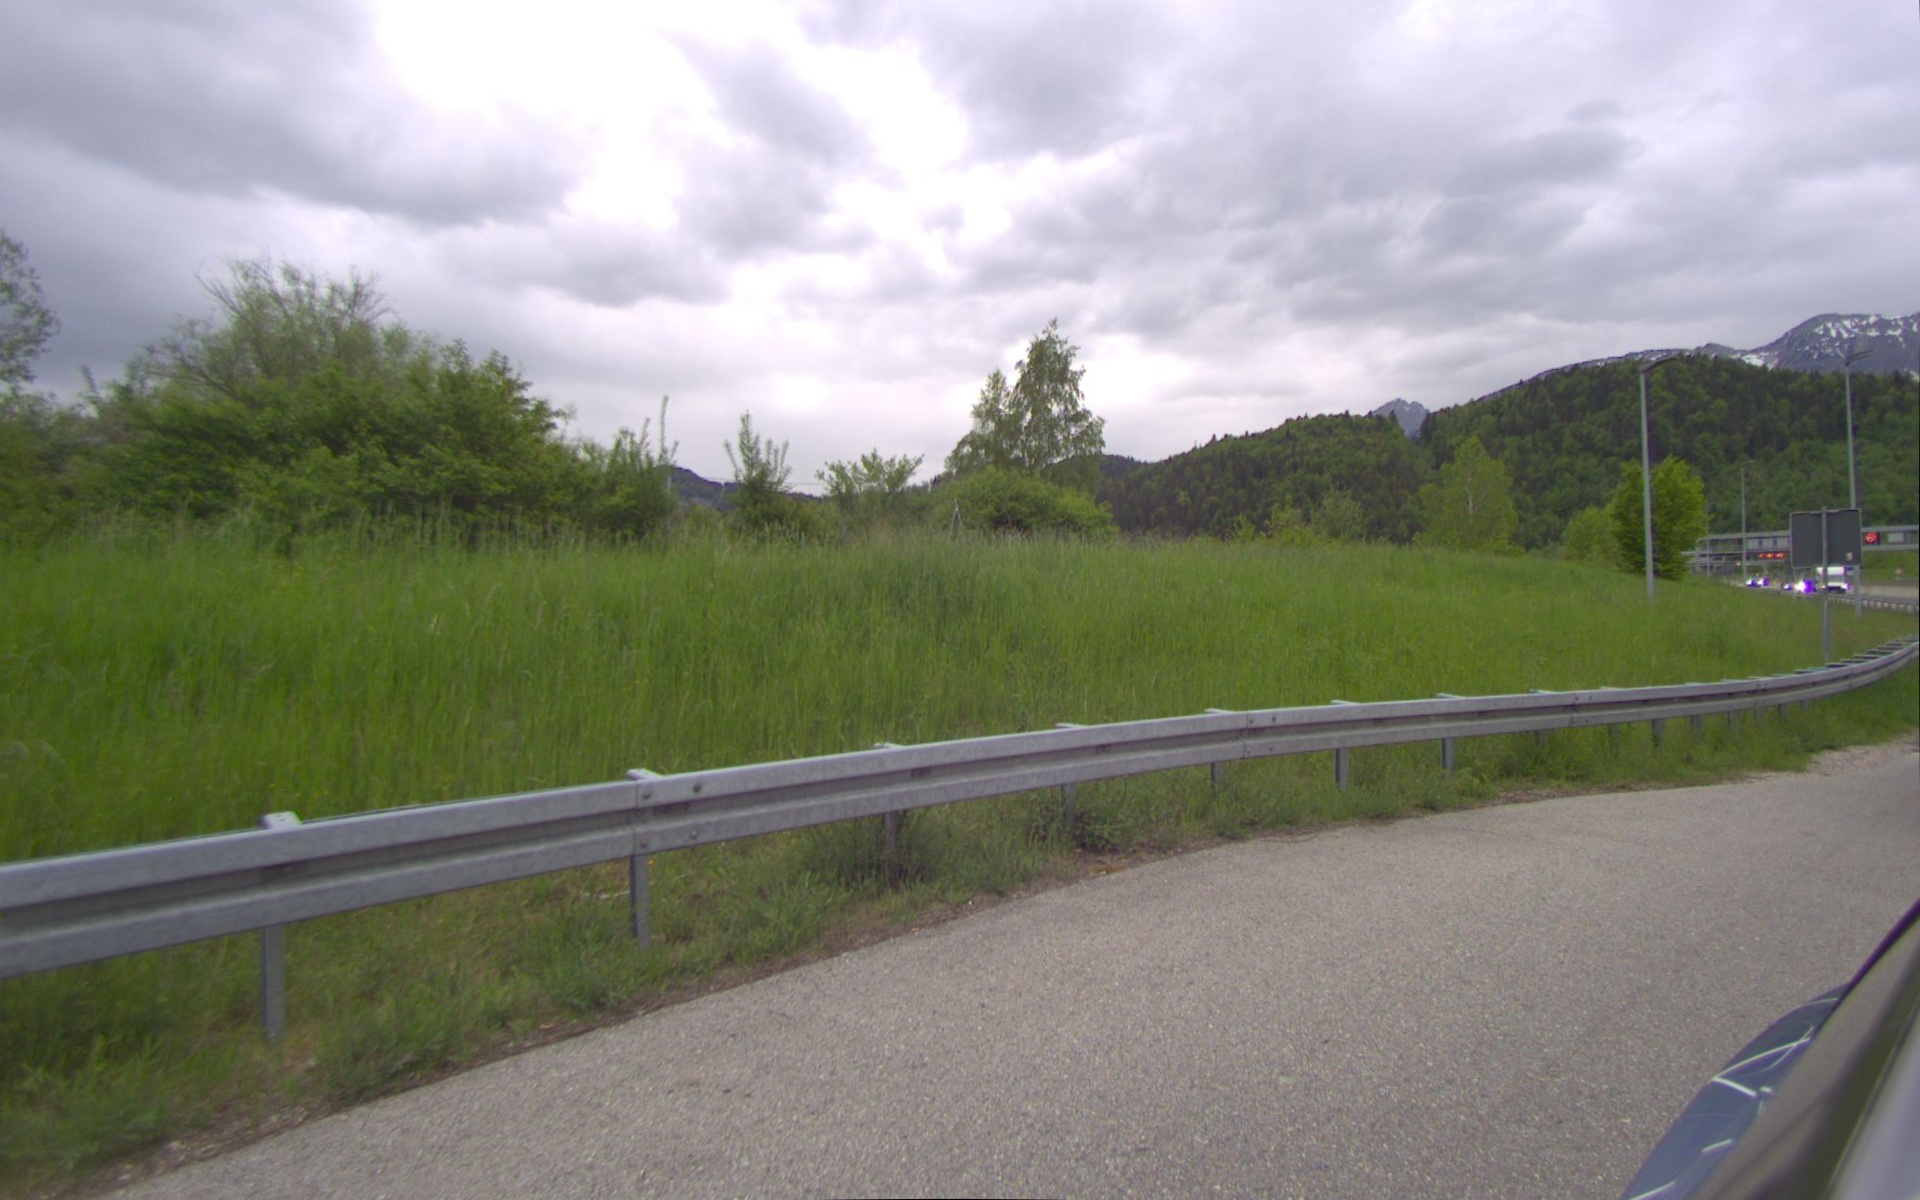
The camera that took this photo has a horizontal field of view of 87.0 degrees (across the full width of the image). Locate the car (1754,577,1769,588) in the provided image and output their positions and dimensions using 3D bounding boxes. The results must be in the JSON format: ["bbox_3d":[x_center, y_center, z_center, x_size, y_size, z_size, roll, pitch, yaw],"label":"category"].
[{"bbox_3d":[136.802,-3.043,172.709,1.858,1.895,3.946,1,1,37],"label":"car"}]

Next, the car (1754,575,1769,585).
[{"bbox_3d":[136.705,-3.468,172.632,1.710,1.659,4.296,1,2,34],"label":"car"}]

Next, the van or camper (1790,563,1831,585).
[{"bbox_3d":[109.473,-3.295,130.405,3.322,2.677,8.098,1,1,35],"label":"van or camper"}]

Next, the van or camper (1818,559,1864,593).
[{"bbox_3d":[90.973,-2.447,104.610,2.565,3.434,7.269,1,1,33],"label":"van or camper"}]
